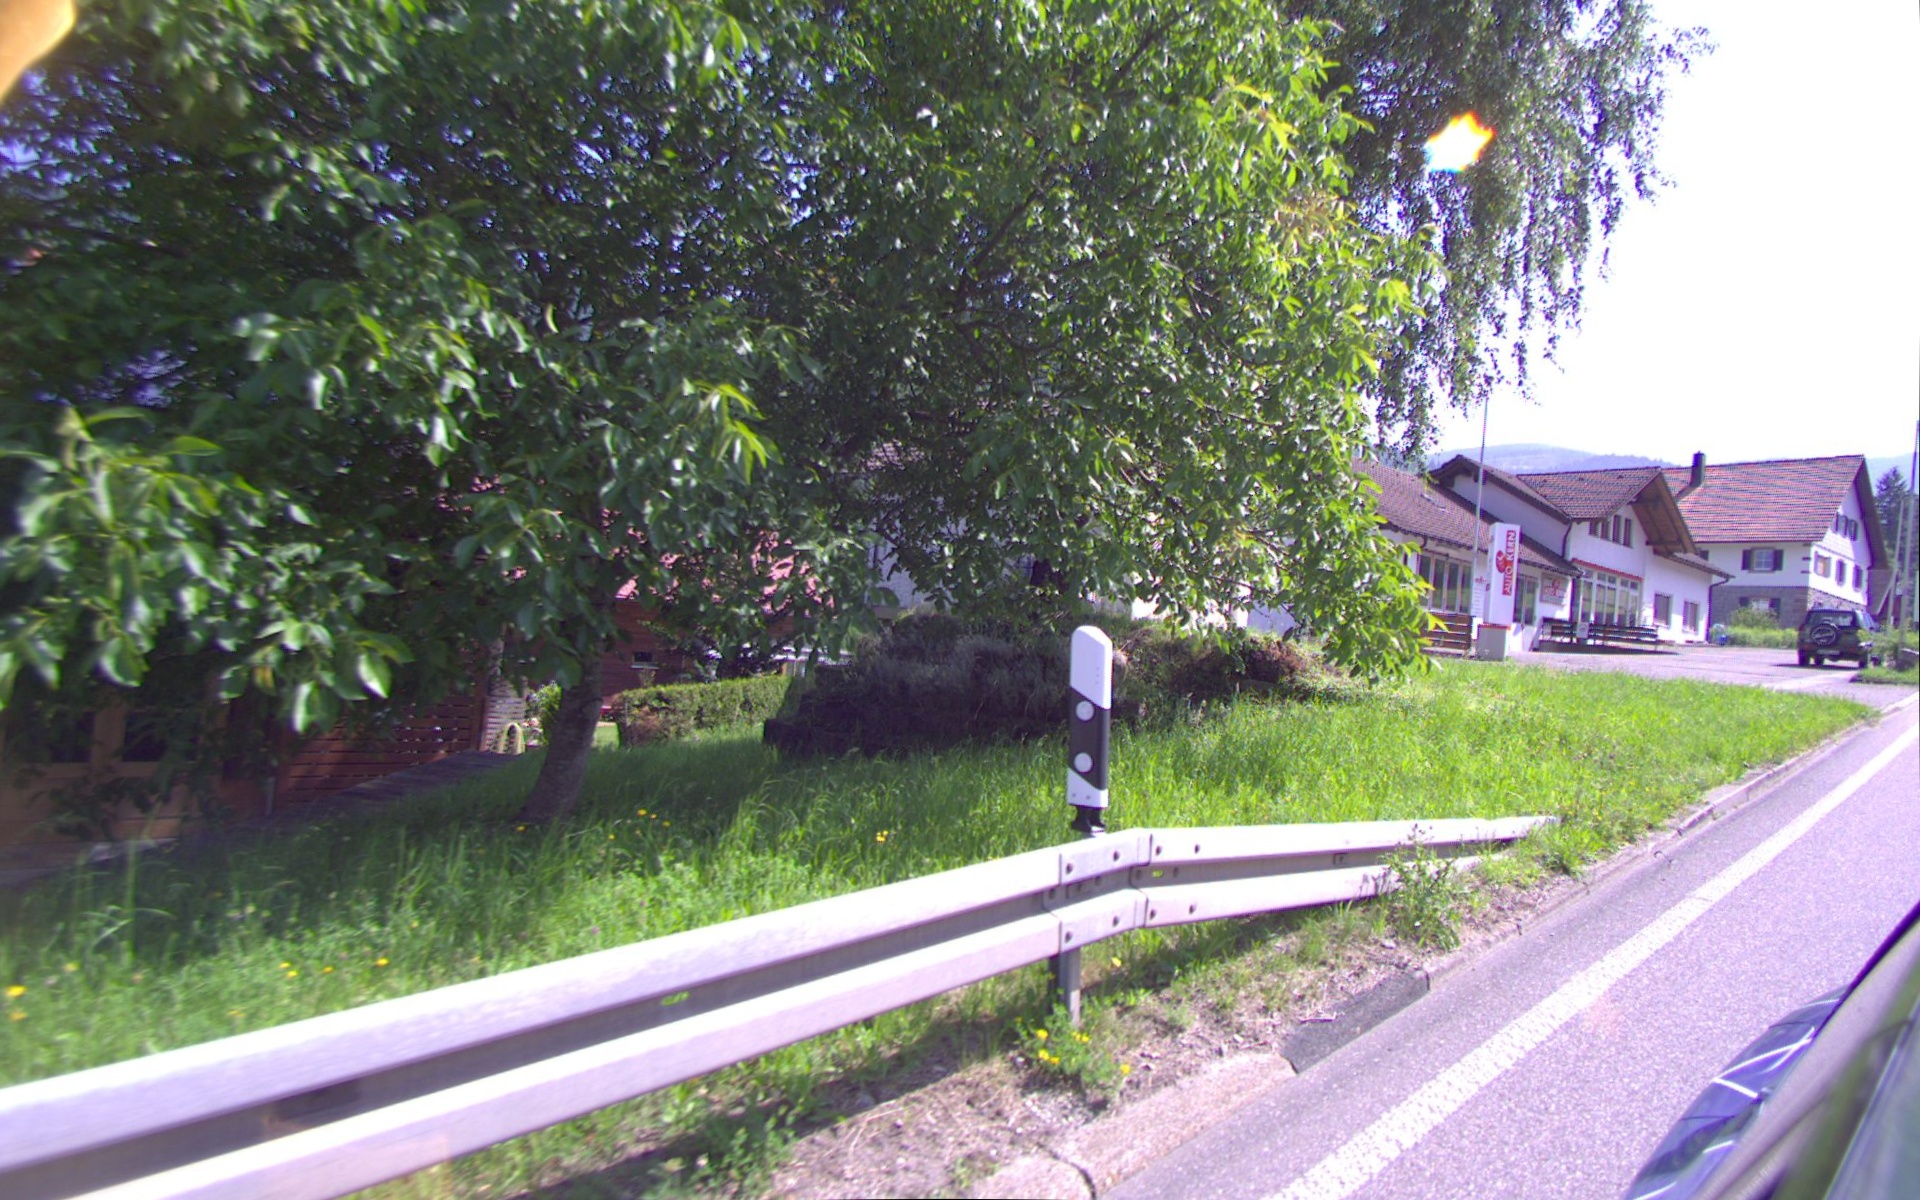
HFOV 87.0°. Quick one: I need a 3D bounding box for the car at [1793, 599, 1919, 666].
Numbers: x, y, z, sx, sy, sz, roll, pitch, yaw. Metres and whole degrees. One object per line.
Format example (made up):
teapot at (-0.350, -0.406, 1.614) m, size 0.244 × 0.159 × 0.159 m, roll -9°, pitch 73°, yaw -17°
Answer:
car at (27.624, 0.994, 31.134) m, size 4.573 × 1.835 × 1.815 m, roll 2°, pitch 2°, yaw -35°
